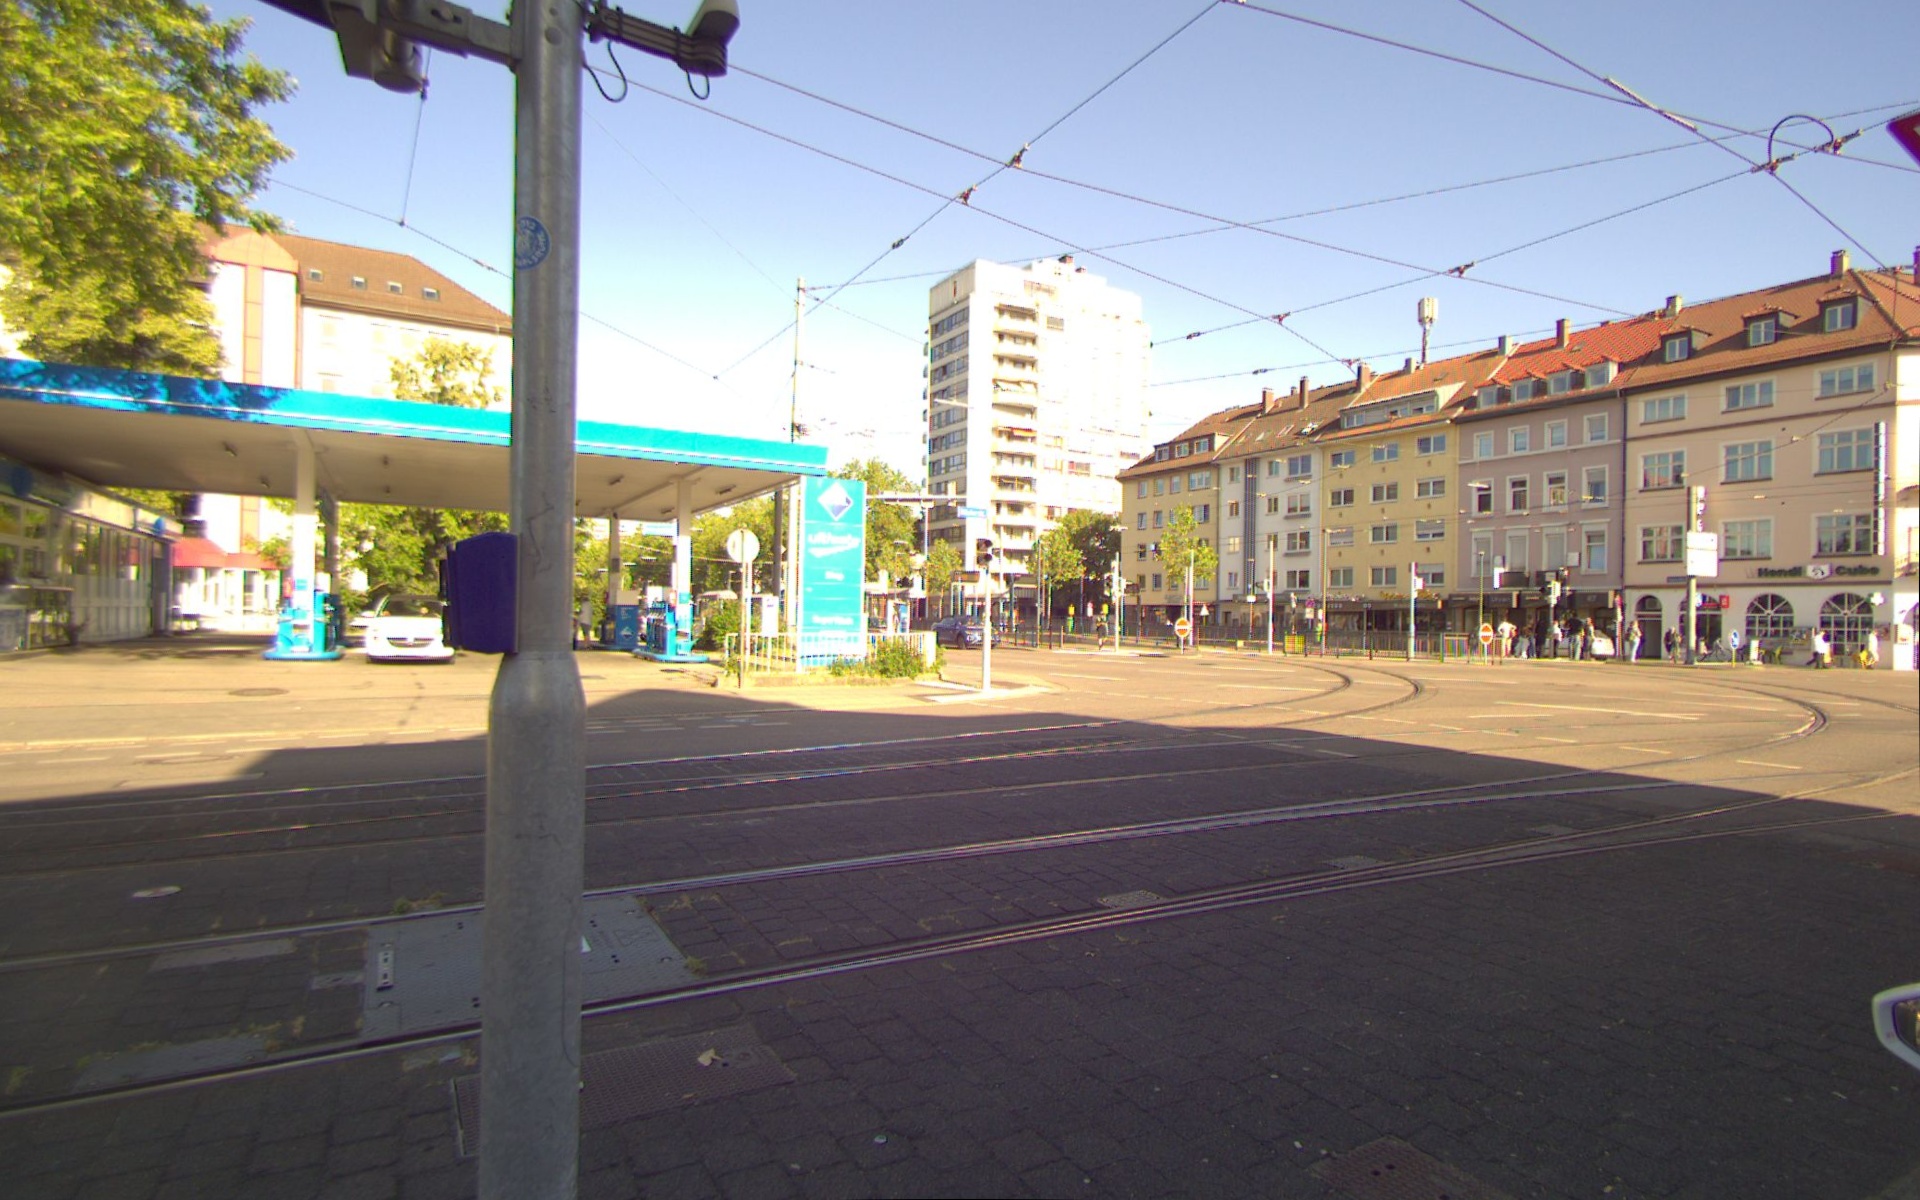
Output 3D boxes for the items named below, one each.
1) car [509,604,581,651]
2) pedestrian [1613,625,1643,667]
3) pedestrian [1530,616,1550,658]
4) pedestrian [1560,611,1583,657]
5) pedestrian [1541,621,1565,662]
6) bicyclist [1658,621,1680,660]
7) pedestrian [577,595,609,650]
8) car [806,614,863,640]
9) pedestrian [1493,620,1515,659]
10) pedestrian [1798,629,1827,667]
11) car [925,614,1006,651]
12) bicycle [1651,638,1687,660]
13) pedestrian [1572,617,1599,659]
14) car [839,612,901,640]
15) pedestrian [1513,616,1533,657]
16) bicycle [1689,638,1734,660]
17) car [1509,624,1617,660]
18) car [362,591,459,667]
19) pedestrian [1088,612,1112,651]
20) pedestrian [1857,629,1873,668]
[{"bbox_3d":[-13.518,0.861,32.645,1.659,1.372,3.559,2,0,-31],"label":"car"},{"bbox_3d":[26.326,1.821,39.578,0.805,1.615,0.665,2,0,-30],"label":"pedestrian"},{"bbox_3d":[23.739,1.518,41.114,0.492,1.670,0.520,2,0,-30],"label":"pedestrian"},{"bbox_3d":[24.704,1.383,40.585,0.669,1.847,0.524,2,0,-30],"label":"pedestrian"},{"bbox_3d":[25.006,1.750,42.331,0.719,1.670,0.570,2,0,-30],"label":"pedestrian"},{"bbox_3d":[33.999,1.950,48.164,0.606,1.814,0.619,2,0,-25],"label":"bicyclist"},{"bbox_3d":[-11.705,0.728,32.047,0.838,1.724,0.644,2,-3,-31],"label":"pedestrian"},{"bbox_3d":[-7.586,1.615,60.511,1.878,1.473,3.972,1,-1,-33],"label":"car"},{"bbox_3d":[23.890,1.730,44.109,0.609,1.670,0.581,2,0,-30],"label":"pedestrian"},{"bbox_3d":[37.878,2.134,44.617,0.778,1.664,0.569,2,0,-6],"label":"pedestrian"},{"bbox_3d":[0.198,1.460,46.116,1.810,1.596,4.164,1,0,-31],"label":"car"},{"bbox_3d":[33.977,2.348,48.157,1.731,1.044,0.619,2,0,-25],"label":"bicycle"},{"bbox_3d":[25.596,1.543,41.082,0.831,1.670,0.579,2,0,-30],"label":"pedestrian"},{"bbox_3d":[-4.978,1.425,55.361,1.811,1.422,3.965,1,-1,-32],"label":"car"},{"bbox_3d":[23.371,1.510,41.726,0.492,1.670,0.520,2,0,-30],"label":"pedestrian"},{"bbox_3d":[37.835,2.473,50.594,0.603,0.996,1.693,2,0,-29],"label":"bicycle"},{"bbox_3d":[26.998,1.872,45.072,1.680,1.421,3.769,2,0,-31],"label":"car"},{"bbox_3d":[-12.216,0.594,22.354,1.723,1.455,3.905,2,1,-29],"label":"car"},{"bbox_3d":[5.935,1.326,42.681,0.757,1.631,0.608,2,0,-32],"label":"pedestrian"},{"bbox_3d":[40.258,2.137,44.666,0.491,1.698,0.586,2,0,43],"label":"pedestrian"}]
